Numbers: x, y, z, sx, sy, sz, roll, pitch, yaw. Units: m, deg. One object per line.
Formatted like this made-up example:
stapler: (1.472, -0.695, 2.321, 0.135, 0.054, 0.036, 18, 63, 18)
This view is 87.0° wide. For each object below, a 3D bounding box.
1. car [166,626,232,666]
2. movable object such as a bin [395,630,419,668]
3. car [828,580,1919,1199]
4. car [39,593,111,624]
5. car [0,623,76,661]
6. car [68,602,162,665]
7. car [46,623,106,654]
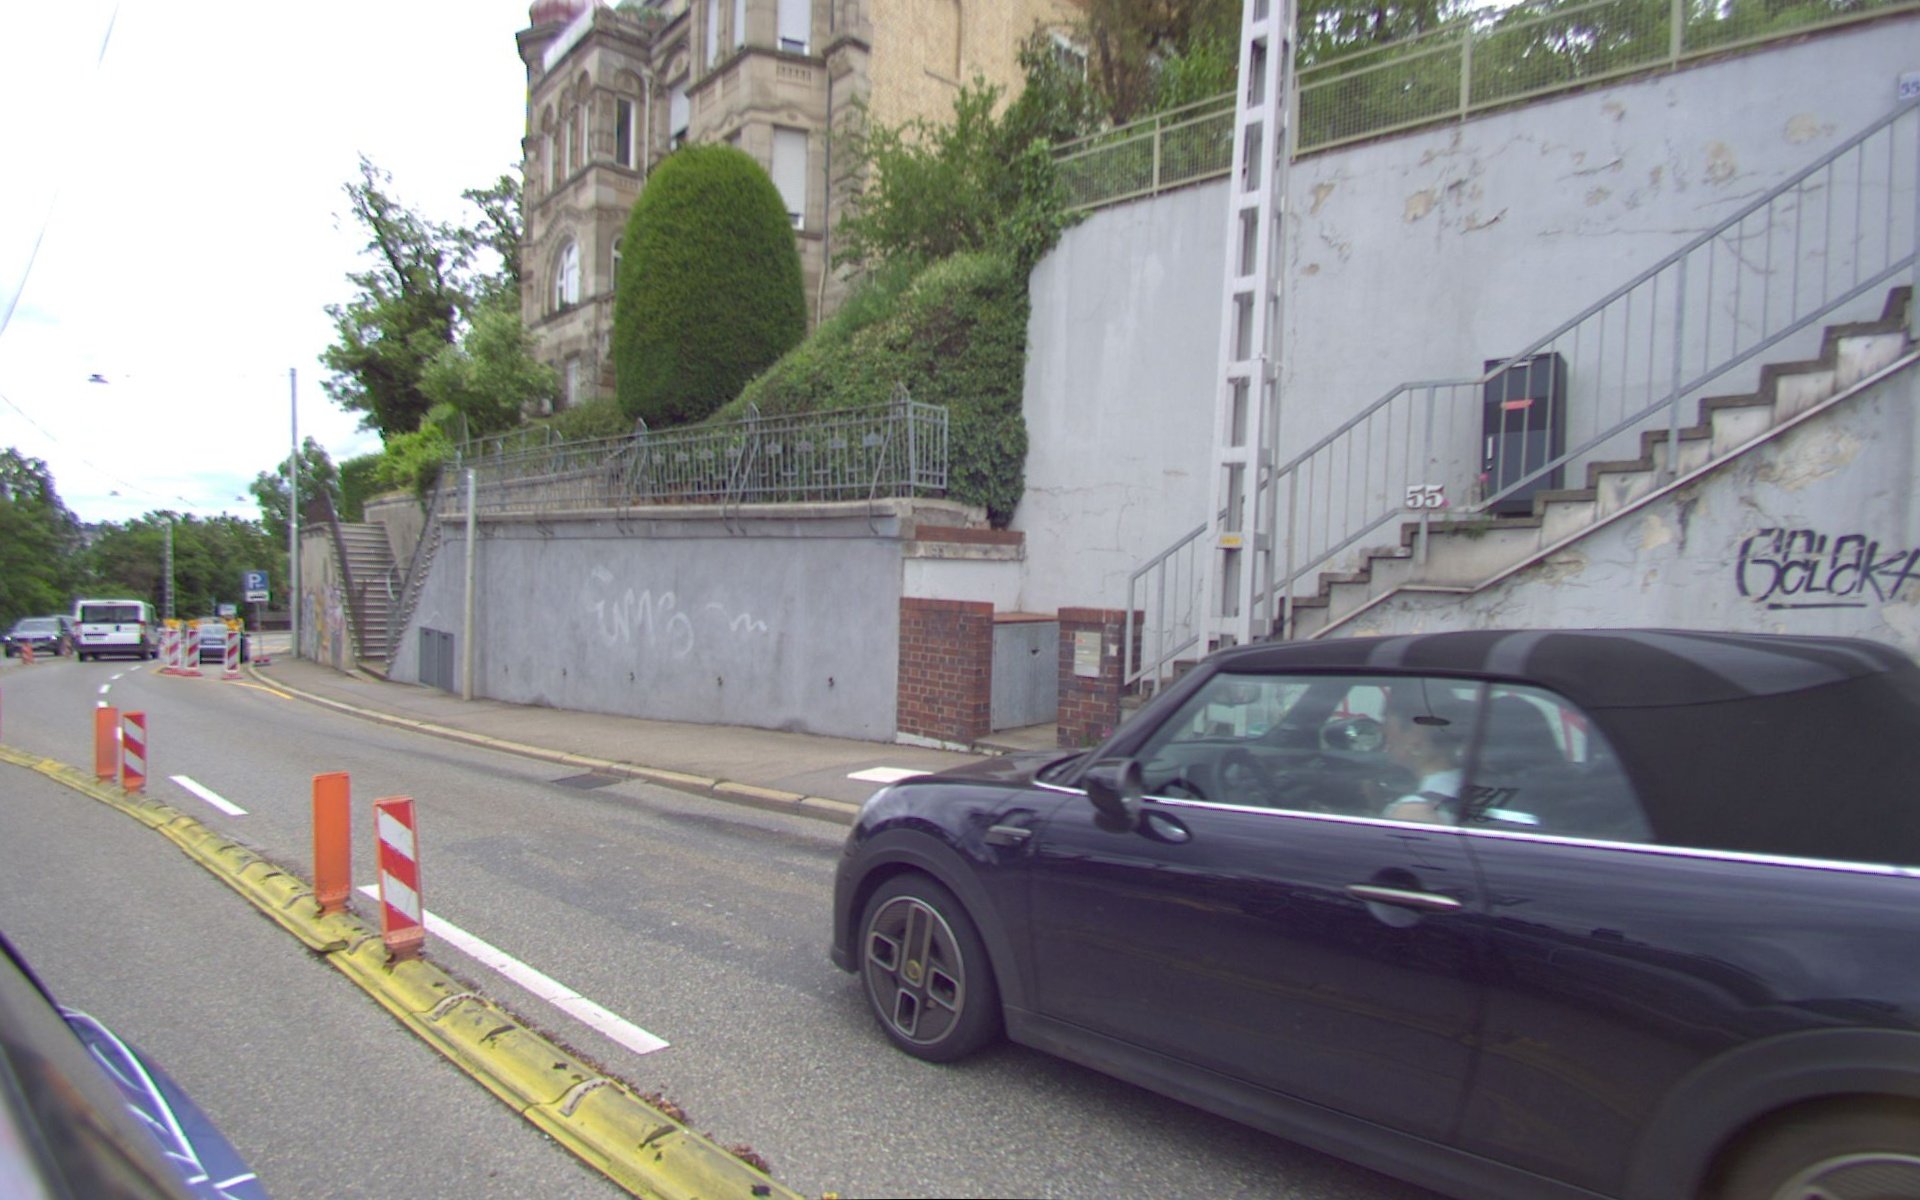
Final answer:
car: (-28.009, 1.660, 37.326, 1.775, 1.383, 4.398, 3, -3, -36)
movable object such as a bin: (-13.688, 1.210, 25.066, 0.447, 0.918, 0.509, 0, -1, -38)
car: (1.404, 0.723, 2.931, 3.588, 1.441, 1.653, -1, -2, 43)
car: (-54.017, 0.561, 61.848, 1.827, 1.686, 4.293, 7, -4, -22)
car: (-39.543, 1.774, 43.375, 1.769, 1.522, 4.011, 3, -2, -32)
car: (-31.846, 1.280, 38.304, 2.039, 2.204, 4.976, 2, -3, -32)
car: (-46.663, 2.018, 53.509, 1.770, 1.522, 4.011, 3, -2, -33)
